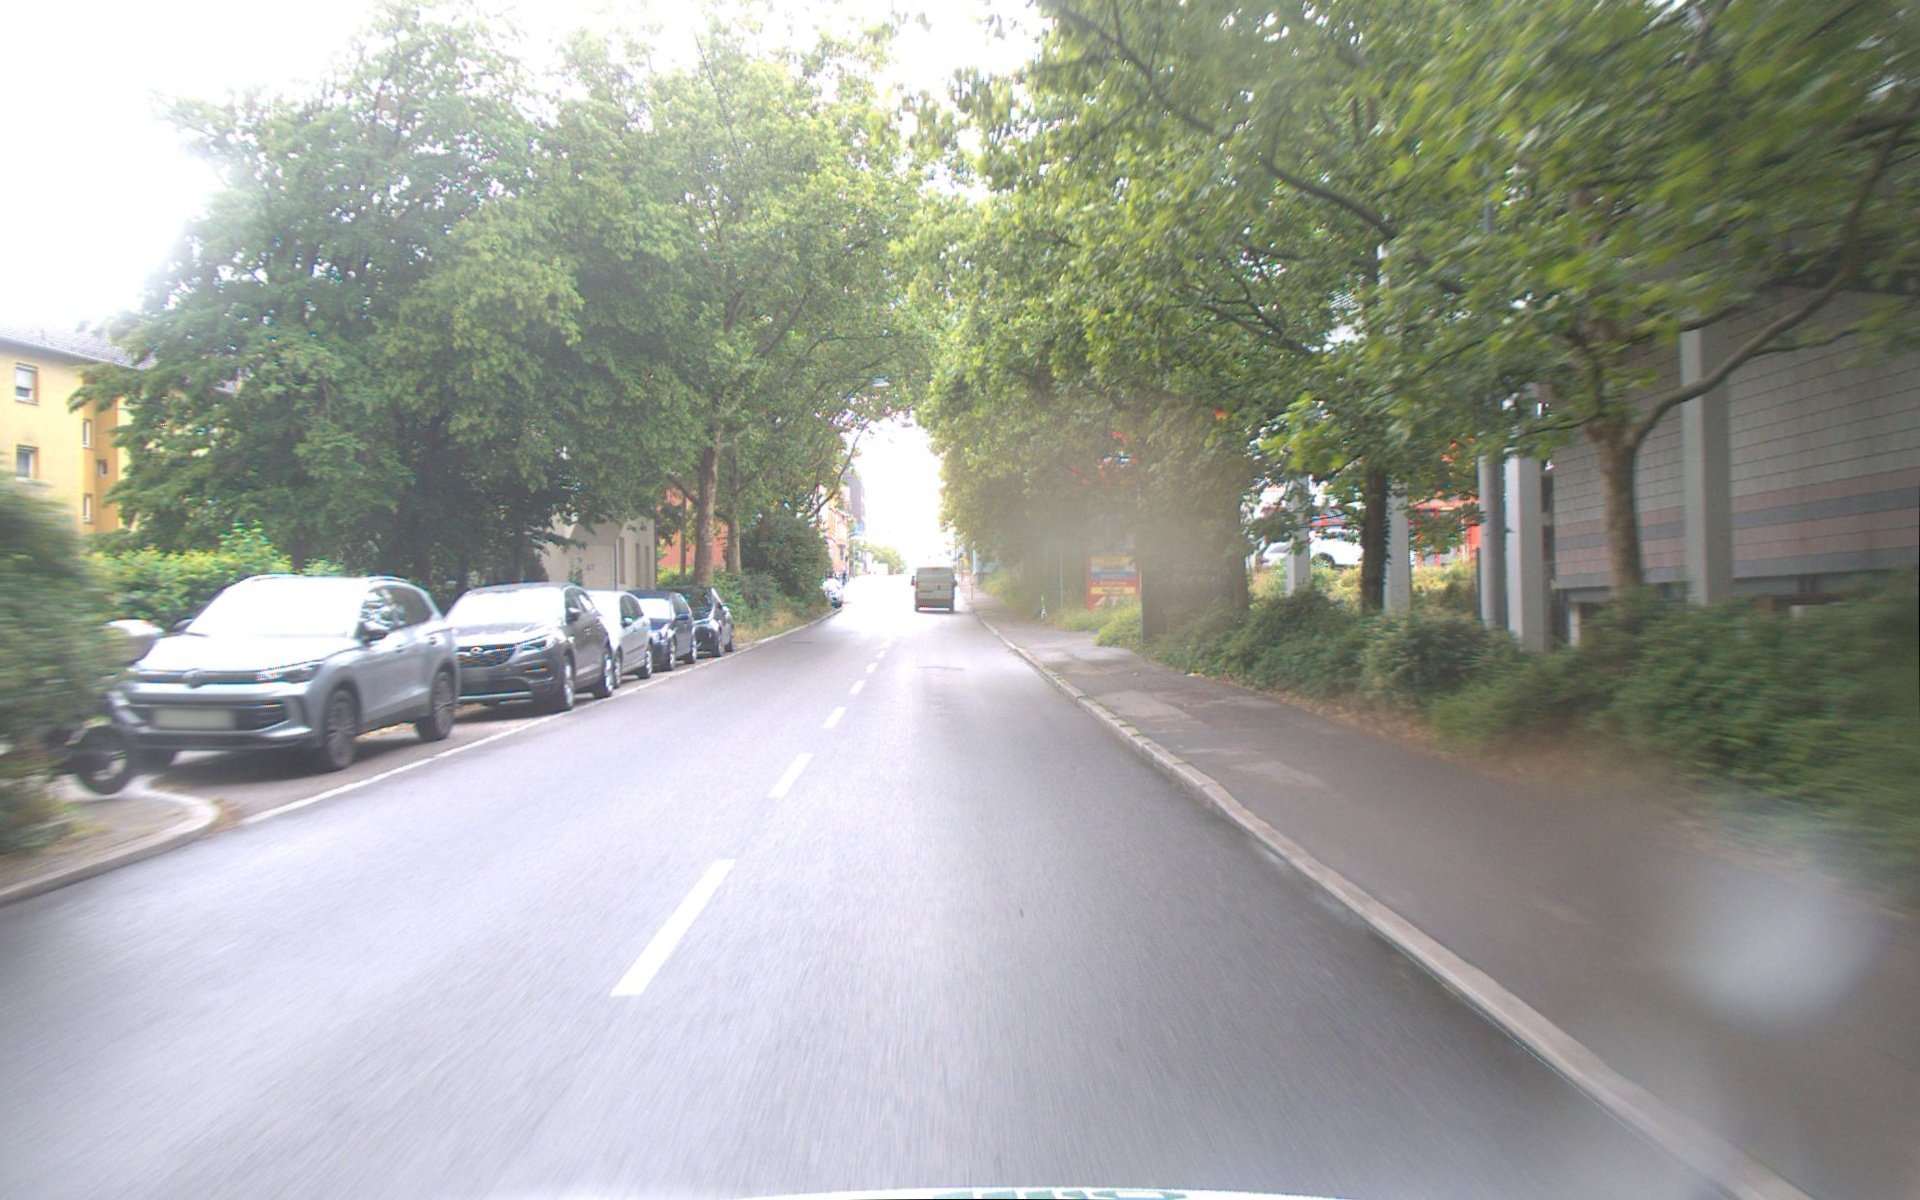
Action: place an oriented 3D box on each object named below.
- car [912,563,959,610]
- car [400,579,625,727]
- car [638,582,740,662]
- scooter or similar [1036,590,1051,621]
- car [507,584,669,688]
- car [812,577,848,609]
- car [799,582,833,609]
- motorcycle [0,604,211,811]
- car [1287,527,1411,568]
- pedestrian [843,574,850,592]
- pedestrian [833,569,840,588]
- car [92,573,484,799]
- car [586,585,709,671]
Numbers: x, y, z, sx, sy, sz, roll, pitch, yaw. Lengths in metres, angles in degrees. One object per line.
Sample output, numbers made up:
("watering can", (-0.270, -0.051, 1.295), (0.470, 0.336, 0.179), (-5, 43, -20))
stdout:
("car", (-1.212, -0.658, 83.559), (2.288, 2.270, 3.999), (-2, -1, 0))
("car", (-5.629, 0.597, 21.349), (1.827, 1.619, 4.237), (-3, 0, -3))
("car", (-6.029, 0.451, 37.190), (1.615, 1.564, 4.017), (-4, 0, -2))
("scooter or similar", (3.164, 0.212, 62.598), (0.417, 1.162, 1.528), (1, -2, -3))
("car", (-5.908, 0.527, 26.723), (1.638, 1.534, 4.123), (1, 0, 0))
("car", (-7.220, -0.406, 91.992), (1.657, 1.568, 4.117), (-3, 2, -1))
("car", (-7.476, -0.252, 86.289), (1.606, 1.397, 3.757), (0, 1, -3))
("motorcycle", (-6.429, 0.761, 11.715), (1.803, 1.338, 0.783), (-4, 0, -1))
("car", (13.978, -1.881, 59.536), (4.017, 1.400, 1.902), (0, 0, -1))
("pedestrian", (-12.511, -1.893, 182.568), (0.657, 2.049, 0.942), (0, 1, 3))
("pedestrian", (-13.572, -2.360, 182.371), (0.657, 2.049, 0.942), (0, 1, 3))
("car", (-6.070, 0.659, 15.608), (1.699, 1.686, 4.564), (-4, 1, 0))
("car", (-5.932, 0.487, 31.804), (1.638, 1.534, 3.873), (-1, 0, -1))
